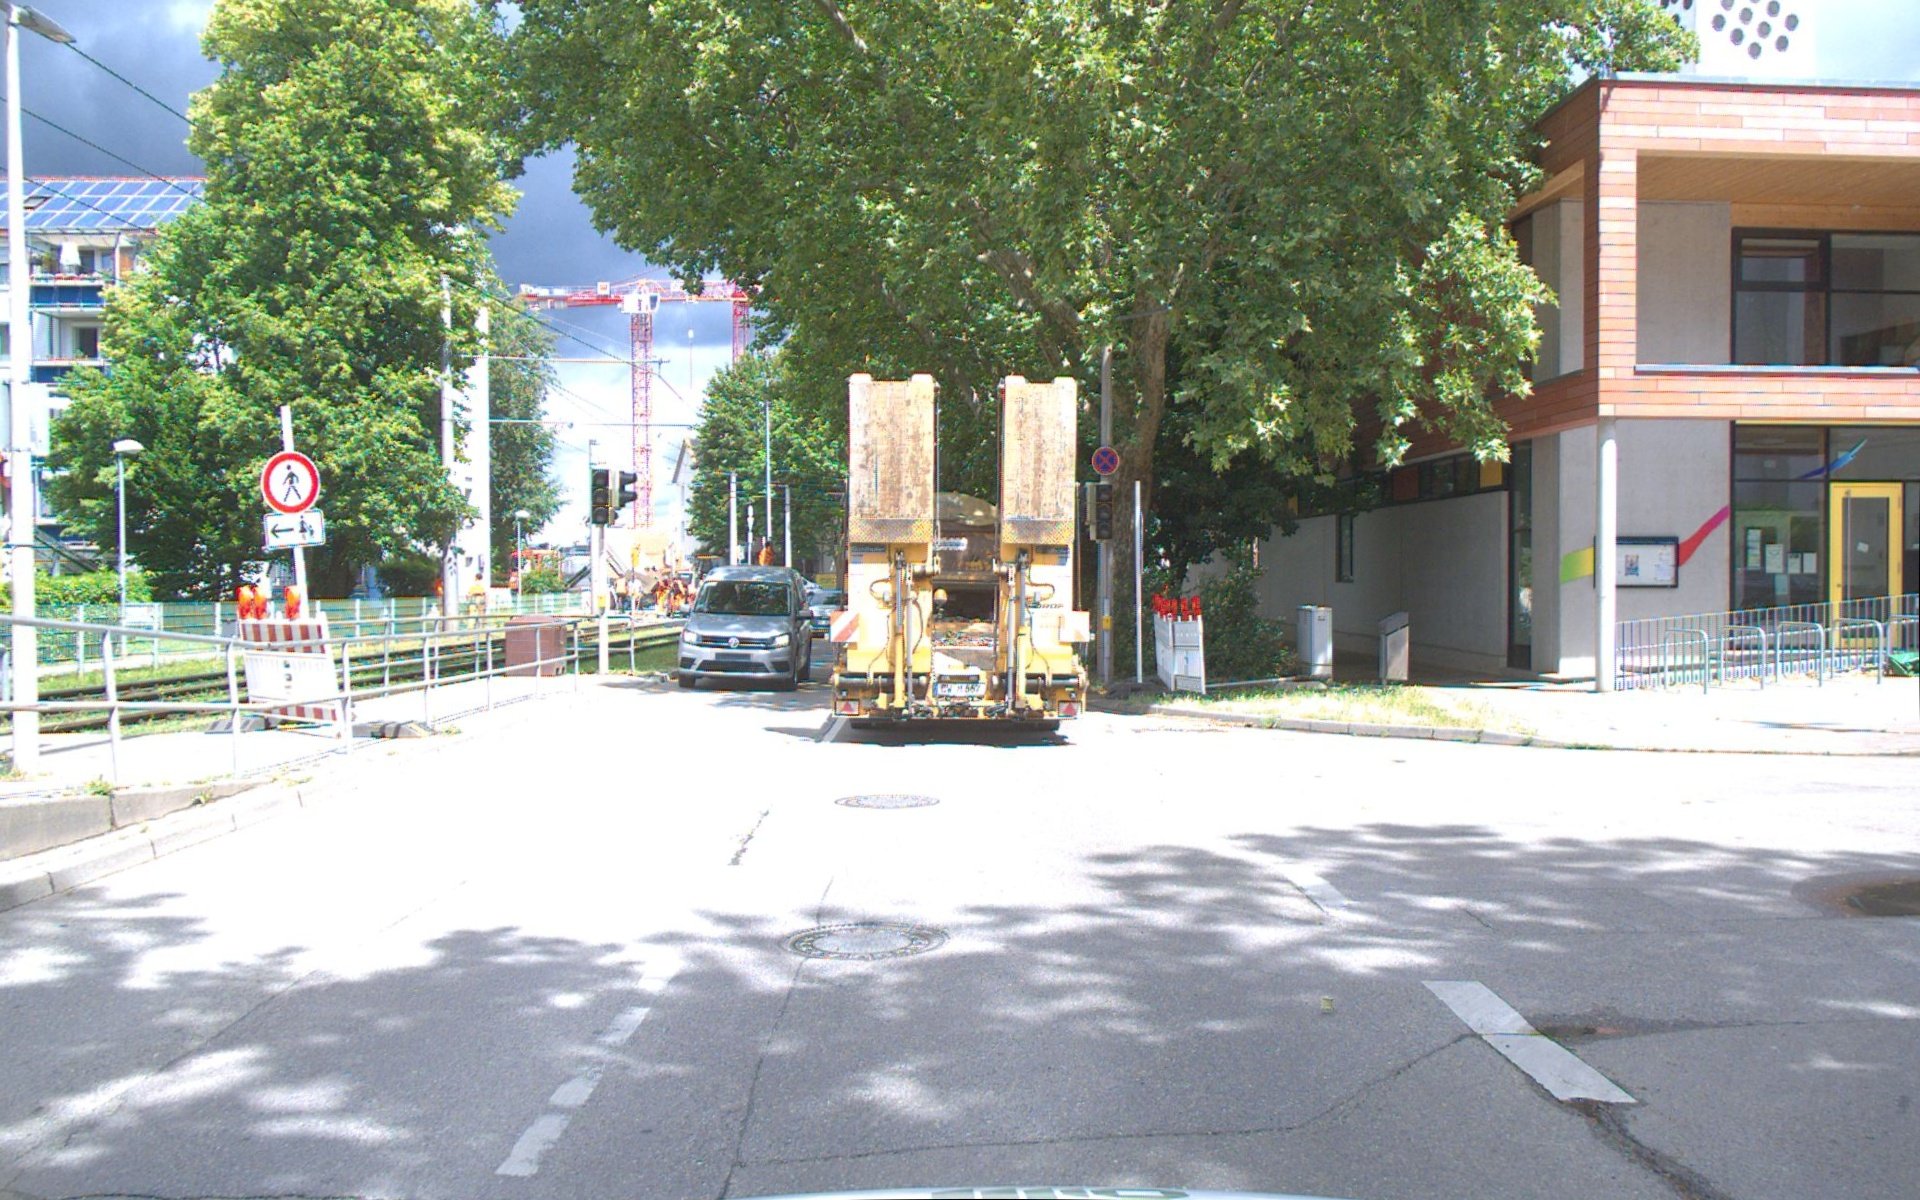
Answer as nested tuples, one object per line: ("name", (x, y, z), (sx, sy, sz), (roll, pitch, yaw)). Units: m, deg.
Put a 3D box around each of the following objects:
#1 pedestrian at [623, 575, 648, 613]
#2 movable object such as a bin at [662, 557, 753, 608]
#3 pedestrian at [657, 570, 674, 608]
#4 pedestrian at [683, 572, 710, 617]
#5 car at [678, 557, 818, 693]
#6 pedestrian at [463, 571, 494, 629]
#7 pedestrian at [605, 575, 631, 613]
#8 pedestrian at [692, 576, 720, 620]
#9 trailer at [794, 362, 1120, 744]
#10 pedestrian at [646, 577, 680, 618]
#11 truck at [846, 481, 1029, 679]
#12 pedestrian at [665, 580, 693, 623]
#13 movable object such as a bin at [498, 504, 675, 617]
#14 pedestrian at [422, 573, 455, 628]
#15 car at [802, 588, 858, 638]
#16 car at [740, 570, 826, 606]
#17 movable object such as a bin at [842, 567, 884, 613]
("pedestrian", (-14.345, -0.254, 73.119), (0.877, 1.673, 0.828), (1, 0, -32))
("movable object such as a bin", (-13.369, -0.933, 87.708), (4.280, 2.675, 2.218), (1, 0, 26))
("pedestrian", (-15.015, -0.573, 84.387), (0.820, 1.900, 0.885), (1, 0, -13))
("pedestrian", (-11.133, -0.244, 69.968), (0.876, 1.900, 0.829), (1, 0, -30))
("car", (-3.209, 0.330, 25.798), (1.718, 1.872, 4.644), (2, 1, -3))
("pedestrian", (-14.744, 0.000, 50.671), (0.685, 1.748, 0.867), (1, 0, -1))
("pedestrian", (-15.188, -0.266, 73.486), (0.877, 1.673, 0.890), (1, 0, -32))
("pedestrian", (-11.165, -0.096, 72.820), (0.868, 1.900, 0.836), (1, 0, 28))
("trailer", (-0.197, -0.467, 21.382), (3.090, 3.615, 11.092), (1, 0, -2))
("pedestrian", (-12.681, -0.119, 70.591), (0.873, 1.745, 1.103), (1, 0, 45))
("truck", (-0.496, -0.334, 30.861), (2.929, 3.190, 7.884), (1, 0, -2))
("pedestrian", (-11.700, 0.059, 68.870), (0.867, 1.791, 0.837), (1, 0, 19))
("movable object such as a bin", (-18.876, -1.965, 83.453), (9.021, 5.509, 2.662), (1, 0, 26))
("pedestrian", (-15.747, 0.013, 49.928), (0.717, 1.654, 0.867), (0, 0, -1))
("car", (-3.978, 0.377, 51.197), (1.603, 1.460, 3.849), (0, 0, -3))
("car", (-10.765, -0.712, 100.431), (5.005, 2.139, 1.969), (0, 0, -16))
("movable object such as a bin", (-4.410, -0.470, 75.364), (1.369, 2.049, 2.558), (1, 0, 10))
